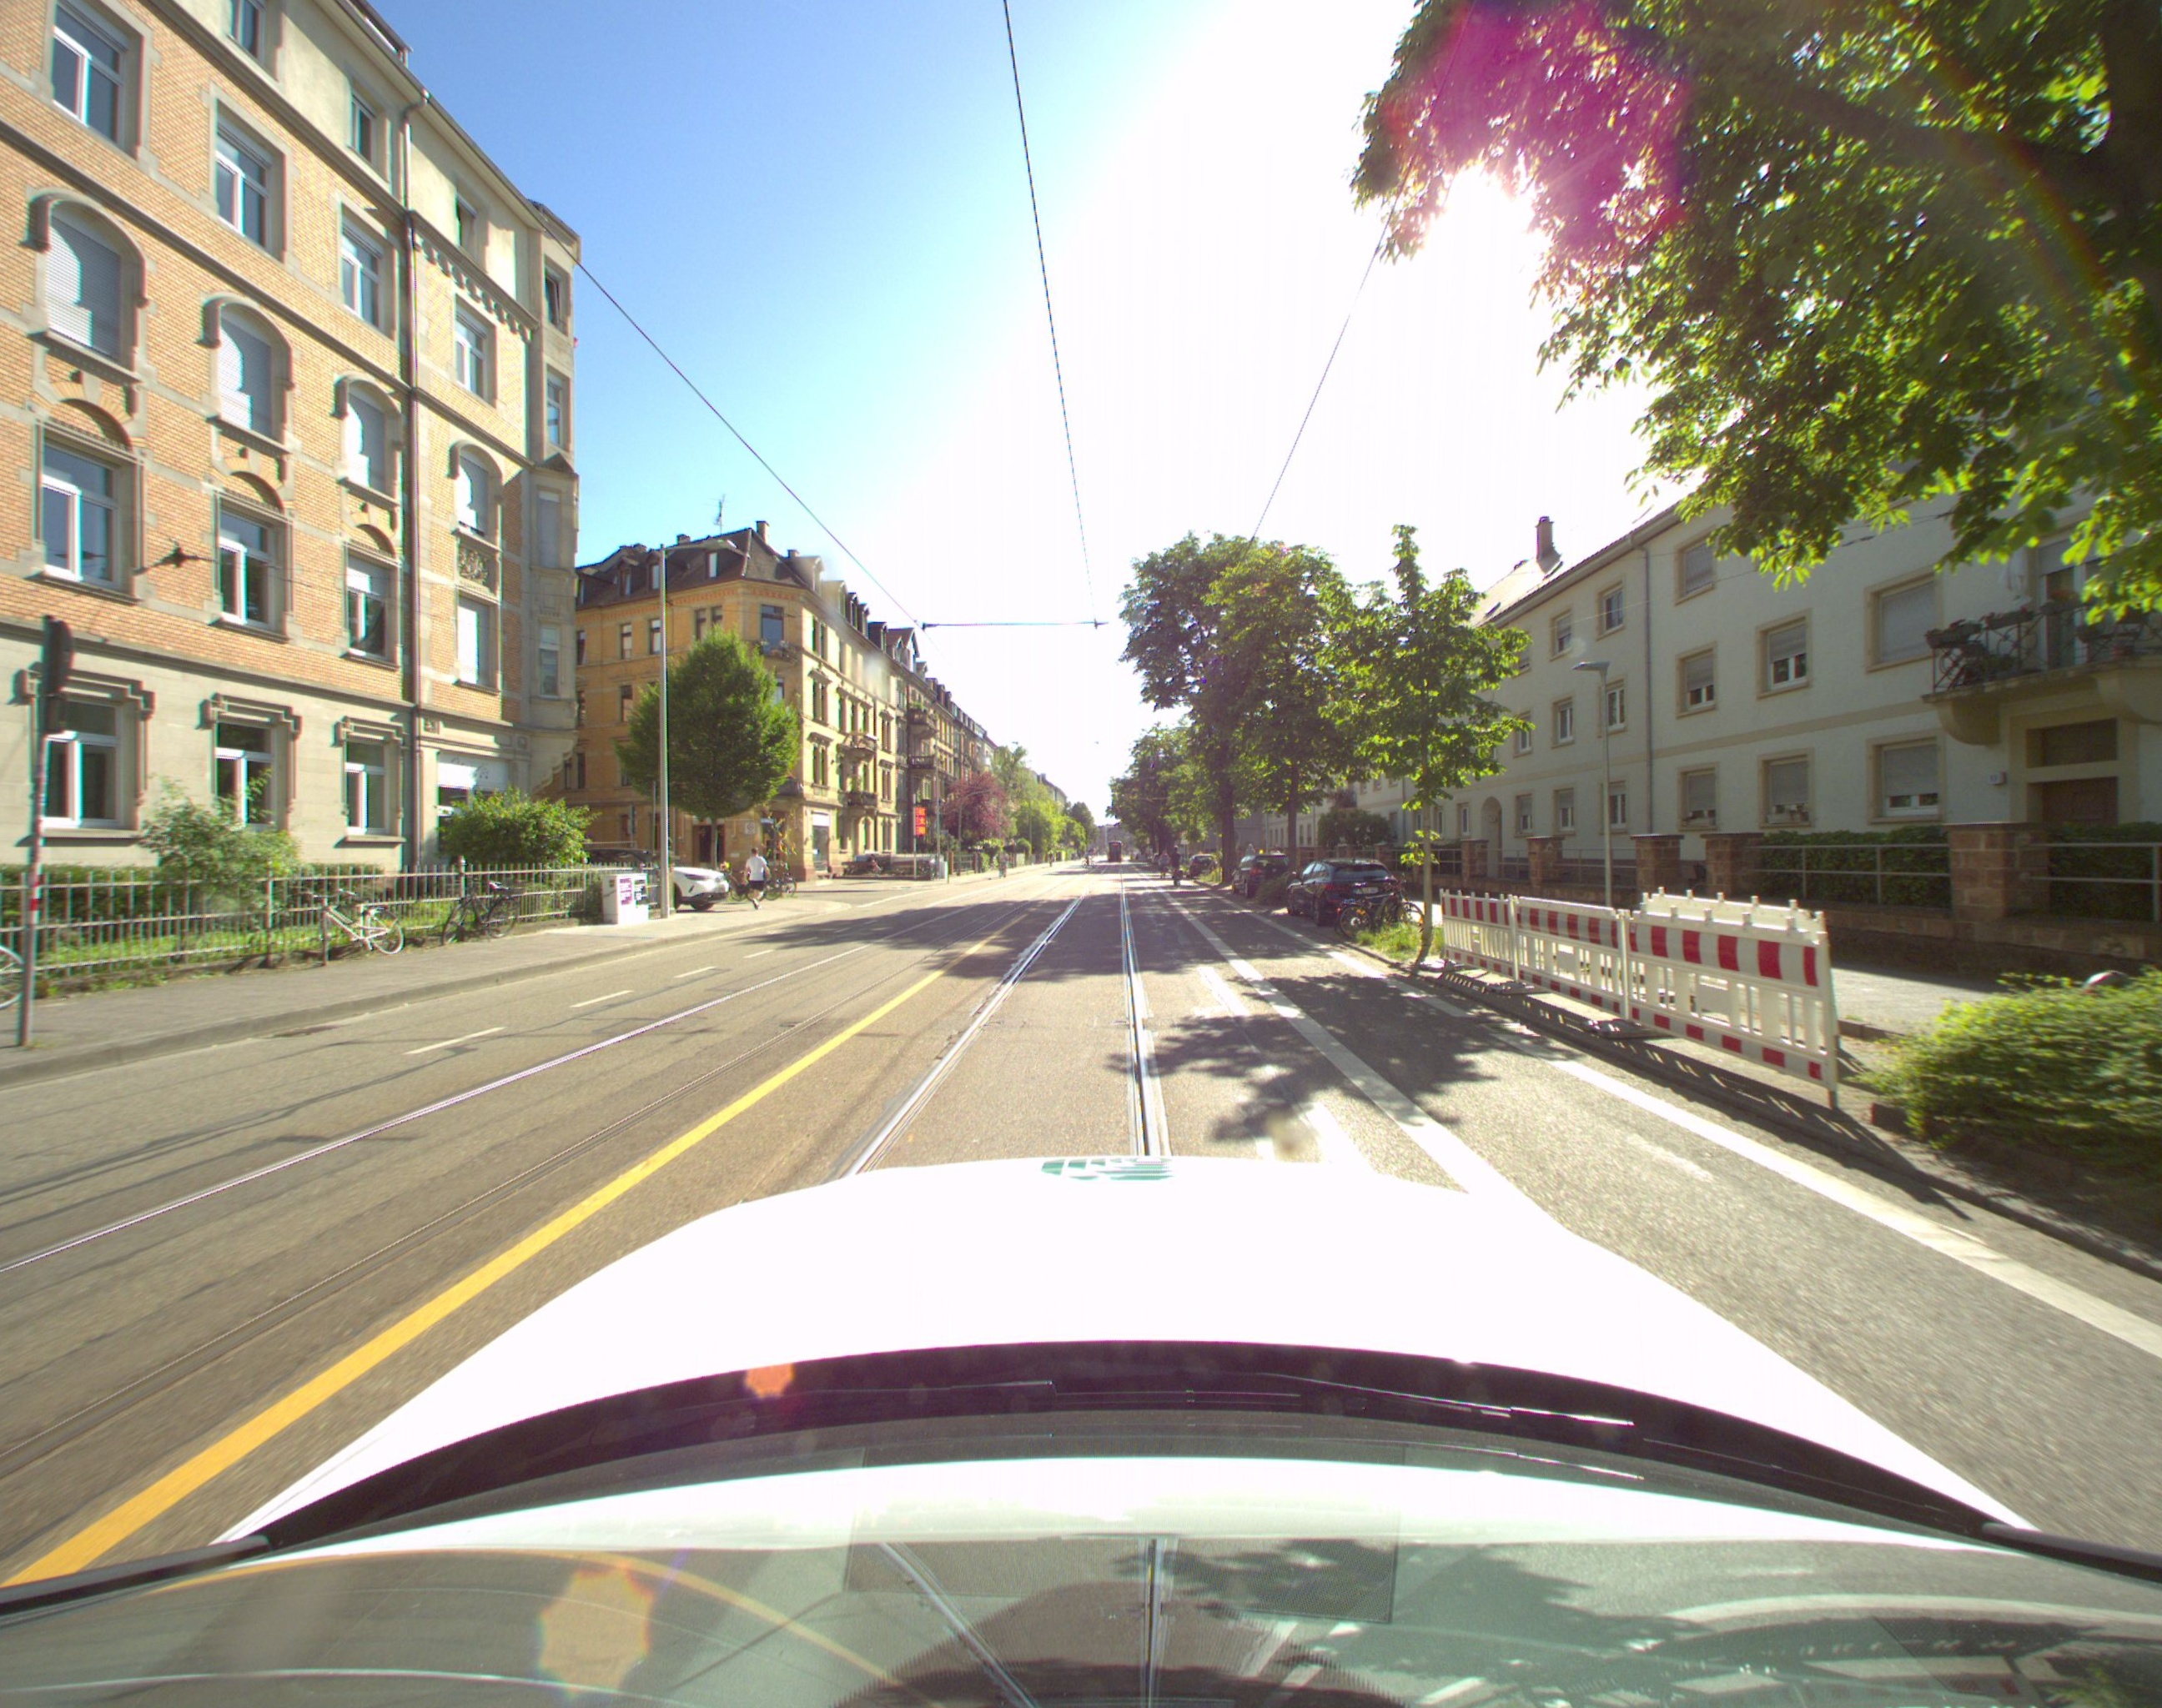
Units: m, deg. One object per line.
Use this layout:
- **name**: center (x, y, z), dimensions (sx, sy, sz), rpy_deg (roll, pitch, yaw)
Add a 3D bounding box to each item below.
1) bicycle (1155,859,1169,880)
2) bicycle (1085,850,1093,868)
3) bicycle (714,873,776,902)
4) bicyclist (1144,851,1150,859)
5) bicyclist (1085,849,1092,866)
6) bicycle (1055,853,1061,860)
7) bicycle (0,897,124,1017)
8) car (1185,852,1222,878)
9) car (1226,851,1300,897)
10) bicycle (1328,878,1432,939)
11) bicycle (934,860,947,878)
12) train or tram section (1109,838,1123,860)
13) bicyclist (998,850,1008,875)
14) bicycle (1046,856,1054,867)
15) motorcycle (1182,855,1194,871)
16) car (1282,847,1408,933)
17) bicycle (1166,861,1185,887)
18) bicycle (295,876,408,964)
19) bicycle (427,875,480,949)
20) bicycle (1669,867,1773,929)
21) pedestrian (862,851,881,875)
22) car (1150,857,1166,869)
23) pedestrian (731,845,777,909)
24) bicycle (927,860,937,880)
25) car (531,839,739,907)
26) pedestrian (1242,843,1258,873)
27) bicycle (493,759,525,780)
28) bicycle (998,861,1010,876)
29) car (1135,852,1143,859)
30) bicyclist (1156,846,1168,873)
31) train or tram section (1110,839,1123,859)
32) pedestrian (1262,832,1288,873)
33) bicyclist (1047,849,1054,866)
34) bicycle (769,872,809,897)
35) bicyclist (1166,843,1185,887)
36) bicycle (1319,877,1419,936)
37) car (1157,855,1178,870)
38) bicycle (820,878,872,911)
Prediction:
- **bicycle**: center (4.598, 0.872, 46.515), dimensions (0.689, 1.112, 1.919), rpy_deg (1, 0, 3)
- **bicycle**: center (0.851, 0.525, 86.110), dimensions (0.660, 1.859, 2.262), rpy_deg (1, 0, 4)
- **bicycle**: center (-10.936, 1.074, 26.526), dimensions (1.795, 0.914, 0.614), rpy_deg (1, -2, -34)
- **bicyclist**: center (10.368, 0.176, 127.563), dimensions (0.766, 1.291, 0.737), rpy_deg (1, 0, 18)
- **bicyclist**: center (0.794, 0.340, 86.120), dimensions (0.643, 1.796, 0.956), rpy_deg (1, 0, 2)
- **bicycle**: center (-3.894, 0.416, 137.280), dimensions (0.633, 1.069, 1.823), rpy_deg (1, 0, -14)
- **bicycle**: center (-10.223, 0.975, 7.546), dimensions (0.561, 1.033, 1.768), rpy_deg (1, 0, 2)
- **car**: center (7.349, 0.628, 49.200), dimensions (1.780, 1.464, 4.047), rpy_deg (-1, 0, 2)
- **car**: center (6.302, 0.645, 28.707), dimensions (1.714, 1.473, 4.247), rpy_deg (-2, 0, 1)
- **bicycle**: center (5.561, 1.009, 15.189), dimensions (1.754, 1.078, 0.434), rpy_deg (1, 0, 3)
- **bicycle**: center (-8.292, 0.870, 48.145), dimensions (0.334, 1.001, 1.871), rpy_deg (1, 0, 3)
- **train or tram section**: center (5.774, -0.835, 133.315), dimensions (2.145, 3.431, 6.615), rpy_deg (1, 0, 2)
- **bicyclist**: center (-5.129, 0.539, 53.582), dimensions (0.462, 1.618, 0.745), rpy_deg (-3, 0, 3)
- **bicycle**: center (-3.399, 0.839, 90.563), dimensions (0.689, 1.112, 1.720), rpy_deg (-2, 0, 3)
- **motorcycle**: center (8.372, 0.697, 63.633), dimensions (0.494, 1.190, 1.859), rpy_deg (-4, 1, -5)
- **car**: center (5.941, 0.721, 18.846), dimensions (1.659, 1.761, 4.233), rpy_deg (0, 0, 2)
- **bicycle**: center (4.130, 0.860, 35.542), dimensions (0.689, 1.112, 1.720), rpy_deg (1, 0, 3)
- **bicycle**: center (-10.143, 0.892, 11.398), dimensions (0.565, 1.033, 1.755), rpy_deg (4, 0, -22)
- **bicycle**: center (-10.259, 0.909, 13.354), dimensions (0.567, 1.033, 1.749), rpy_deg (0, 2, -34)
- **bicycle**: center (11.990, 0.796, 15.338), dimensions (0.557, 1.053, 1.873), rpy_deg (-1, 0, 3)
- **pedestrian**: center (-12.289, 0.541, 47.753), dimensions (0.897, 1.352, 0.578), rpy_deg (-2, 0, 4)
- **car**: center (9.796, 1.176, 103.311), dimensions (1.742, 1.420, 4.002), rpy_deg (-2, 0, 2)
- **pedestrian**: center (-9.044, 0.624, 22.589), dimensions (0.827, 1.724, 1.081), rpy_deg (1, -1, -2)
- **bicycle**: center (-8.566, 0.925, 46.790), dimensions (0.369, 1.126, 0.809), rpy_deg (1, 0, 3)
- **car**: center (-11.761, 0.488, 21.666), dimensions (4.425, 1.643, 1.969), rpy_deg (1, 0, 5)
- **pedestrian**: center (9.884, 0.210, 47.608), dimensions (0.755, 1.724, 0.583), rpy_deg (1, 0, 31)
- **bicycle**: center (-34.620, -5.106, 49.279), dimensions (2.107, 1.126, 0.559), rpy_deg (0, 0, 24)
- **bicycle**: center (-5.094, 0.967, 53.764), dimensions (0.458, 0.926, 2.204), rpy_deg (-2, 0, 3)
- **car**: center (13.211, 0.278, 186.068), dimensions (1.747, 1.552, 3.679), rpy_deg (1, 0, 2)
- **bicyclist**: center (4.602, 0.313, 46.329), dimensions (0.632, 1.468, 0.616), rpy_deg (1, 0, 2)
- **train or tram section**: center (6.054, -0.845, 139.953), dimensions (2.145, 3.431, 6.615), rpy_deg (1, 0, 2)
- **pedestrian**: center (8.734, -0.071, 36.595), dimensions (0.602, 1.771, 0.905), rpy_deg (-3, 0, -28)
- **bicyclist**: center (-3.413, 0.415, 90.592), dimensions (0.657, 1.801, 0.616), rpy_deg (-3, -1, 2)
- **bicycle**: center (-10.754, 1.124, 30.021), dimensions (1.299, 0.914, 0.614), rpy_deg (1, -2, -33)
- **bicyclist**: center (4.108, 0.470, 35.482), dimensions (0.724, 1.848, 0.837), rpy_deg (1, 0, 2)
- **bicycle**: center (5.534, 0.997, 15.684), dimensions (1.754, 1.078, 0.434), rpy_deg (1, 0, 3)
- **car**: center (8.971, 0.861, 84.322), dimensions (1.623, 1.436, 4.663), rpy_deg (-1, 0, -1)
- **bicycle**: center (-6.805, 1.168, 23.621), dimensions (0.613, 0.914, 1.302), rpy_deg (-1, -2, 40)
